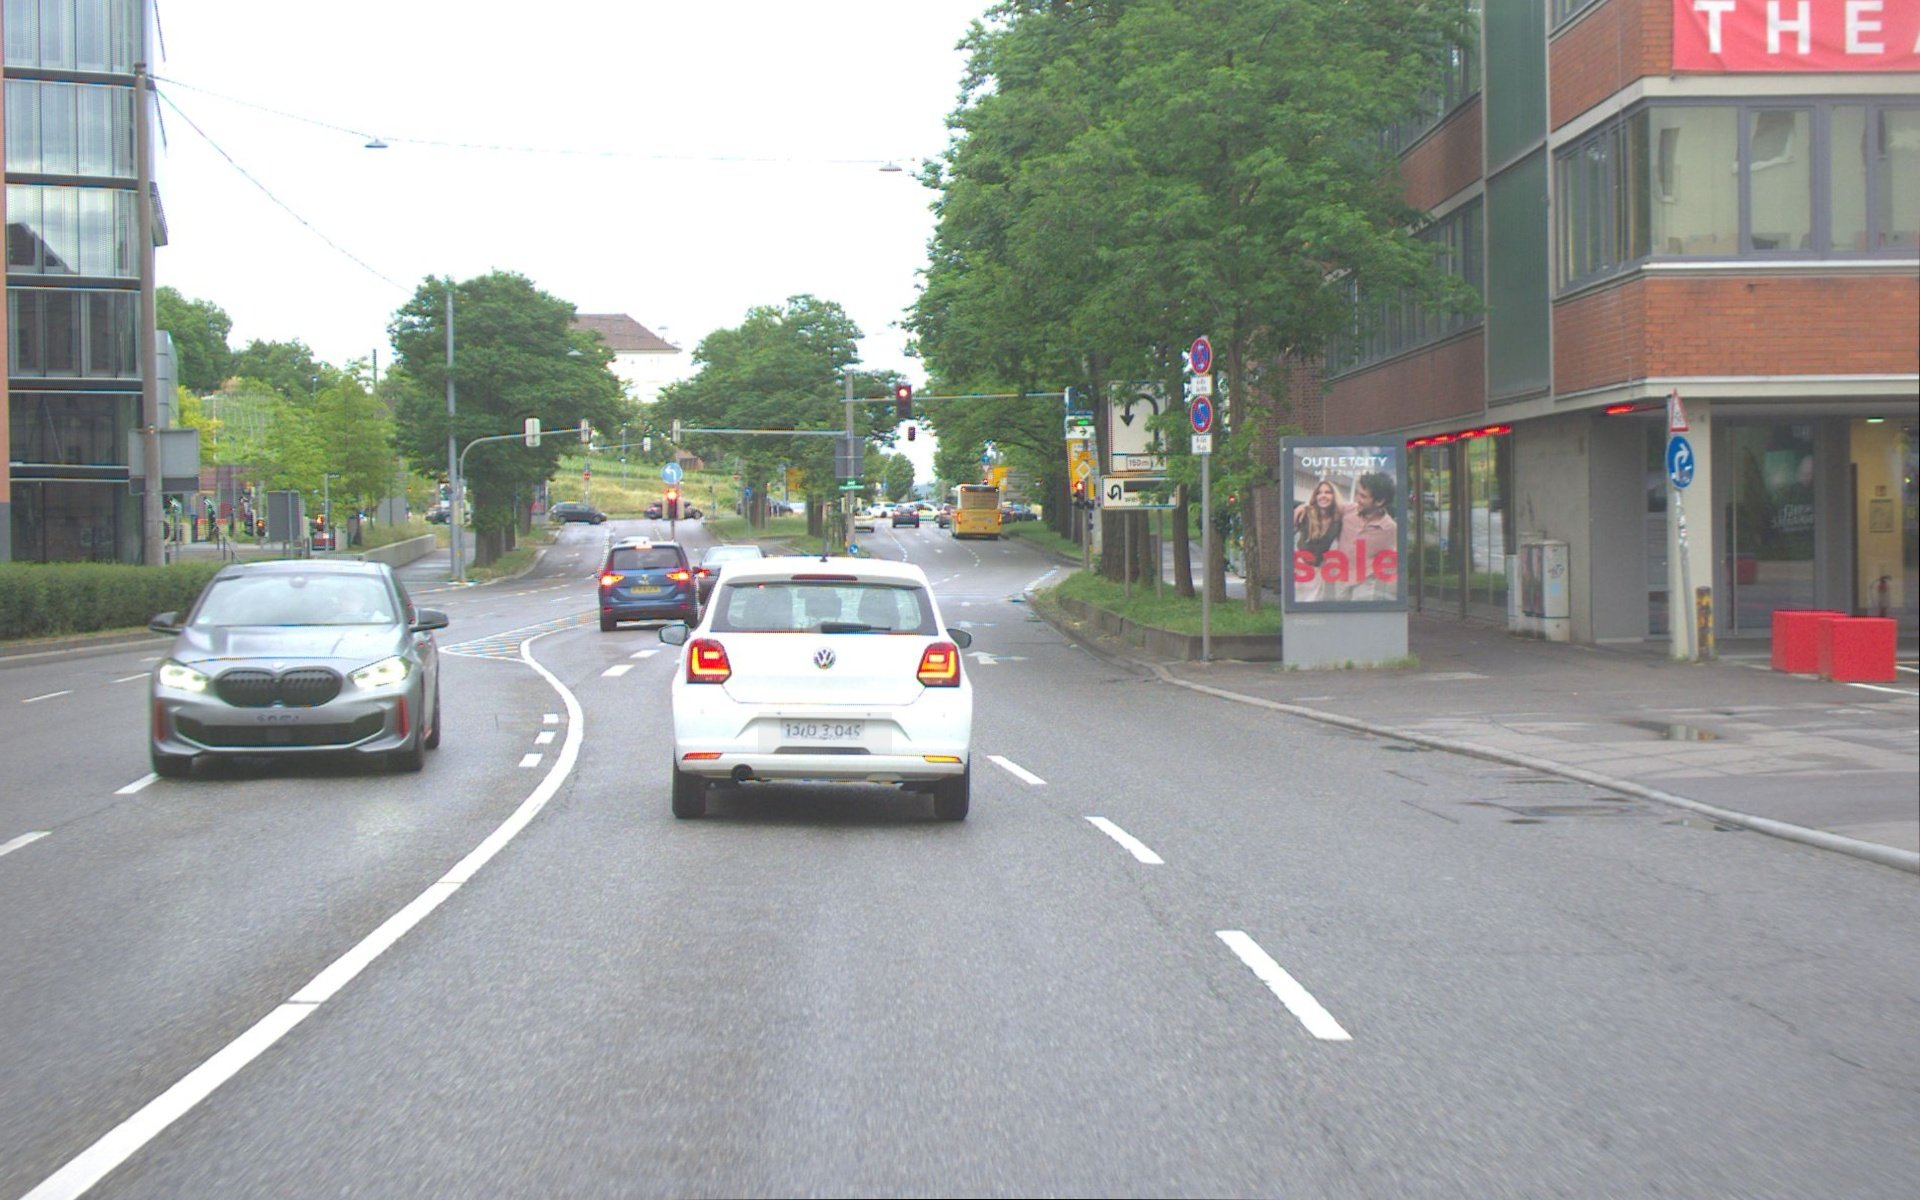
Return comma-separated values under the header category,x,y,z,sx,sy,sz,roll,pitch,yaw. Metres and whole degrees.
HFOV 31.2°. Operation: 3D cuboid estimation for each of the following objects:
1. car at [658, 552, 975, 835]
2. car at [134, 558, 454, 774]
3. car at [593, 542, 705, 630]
category,x,y,z,sx,sy,sz,roll,pitch,yaw
car,-0.896,0.468,20.101,1.670,1.469,3.780,0,1,-4
car,-4.613,0.406,24.310,1.712,1.360,4.001,-1,1,-4
car,-5.830,-0.285,64.489,1.993,1.568,4.001,-1,1,-5
